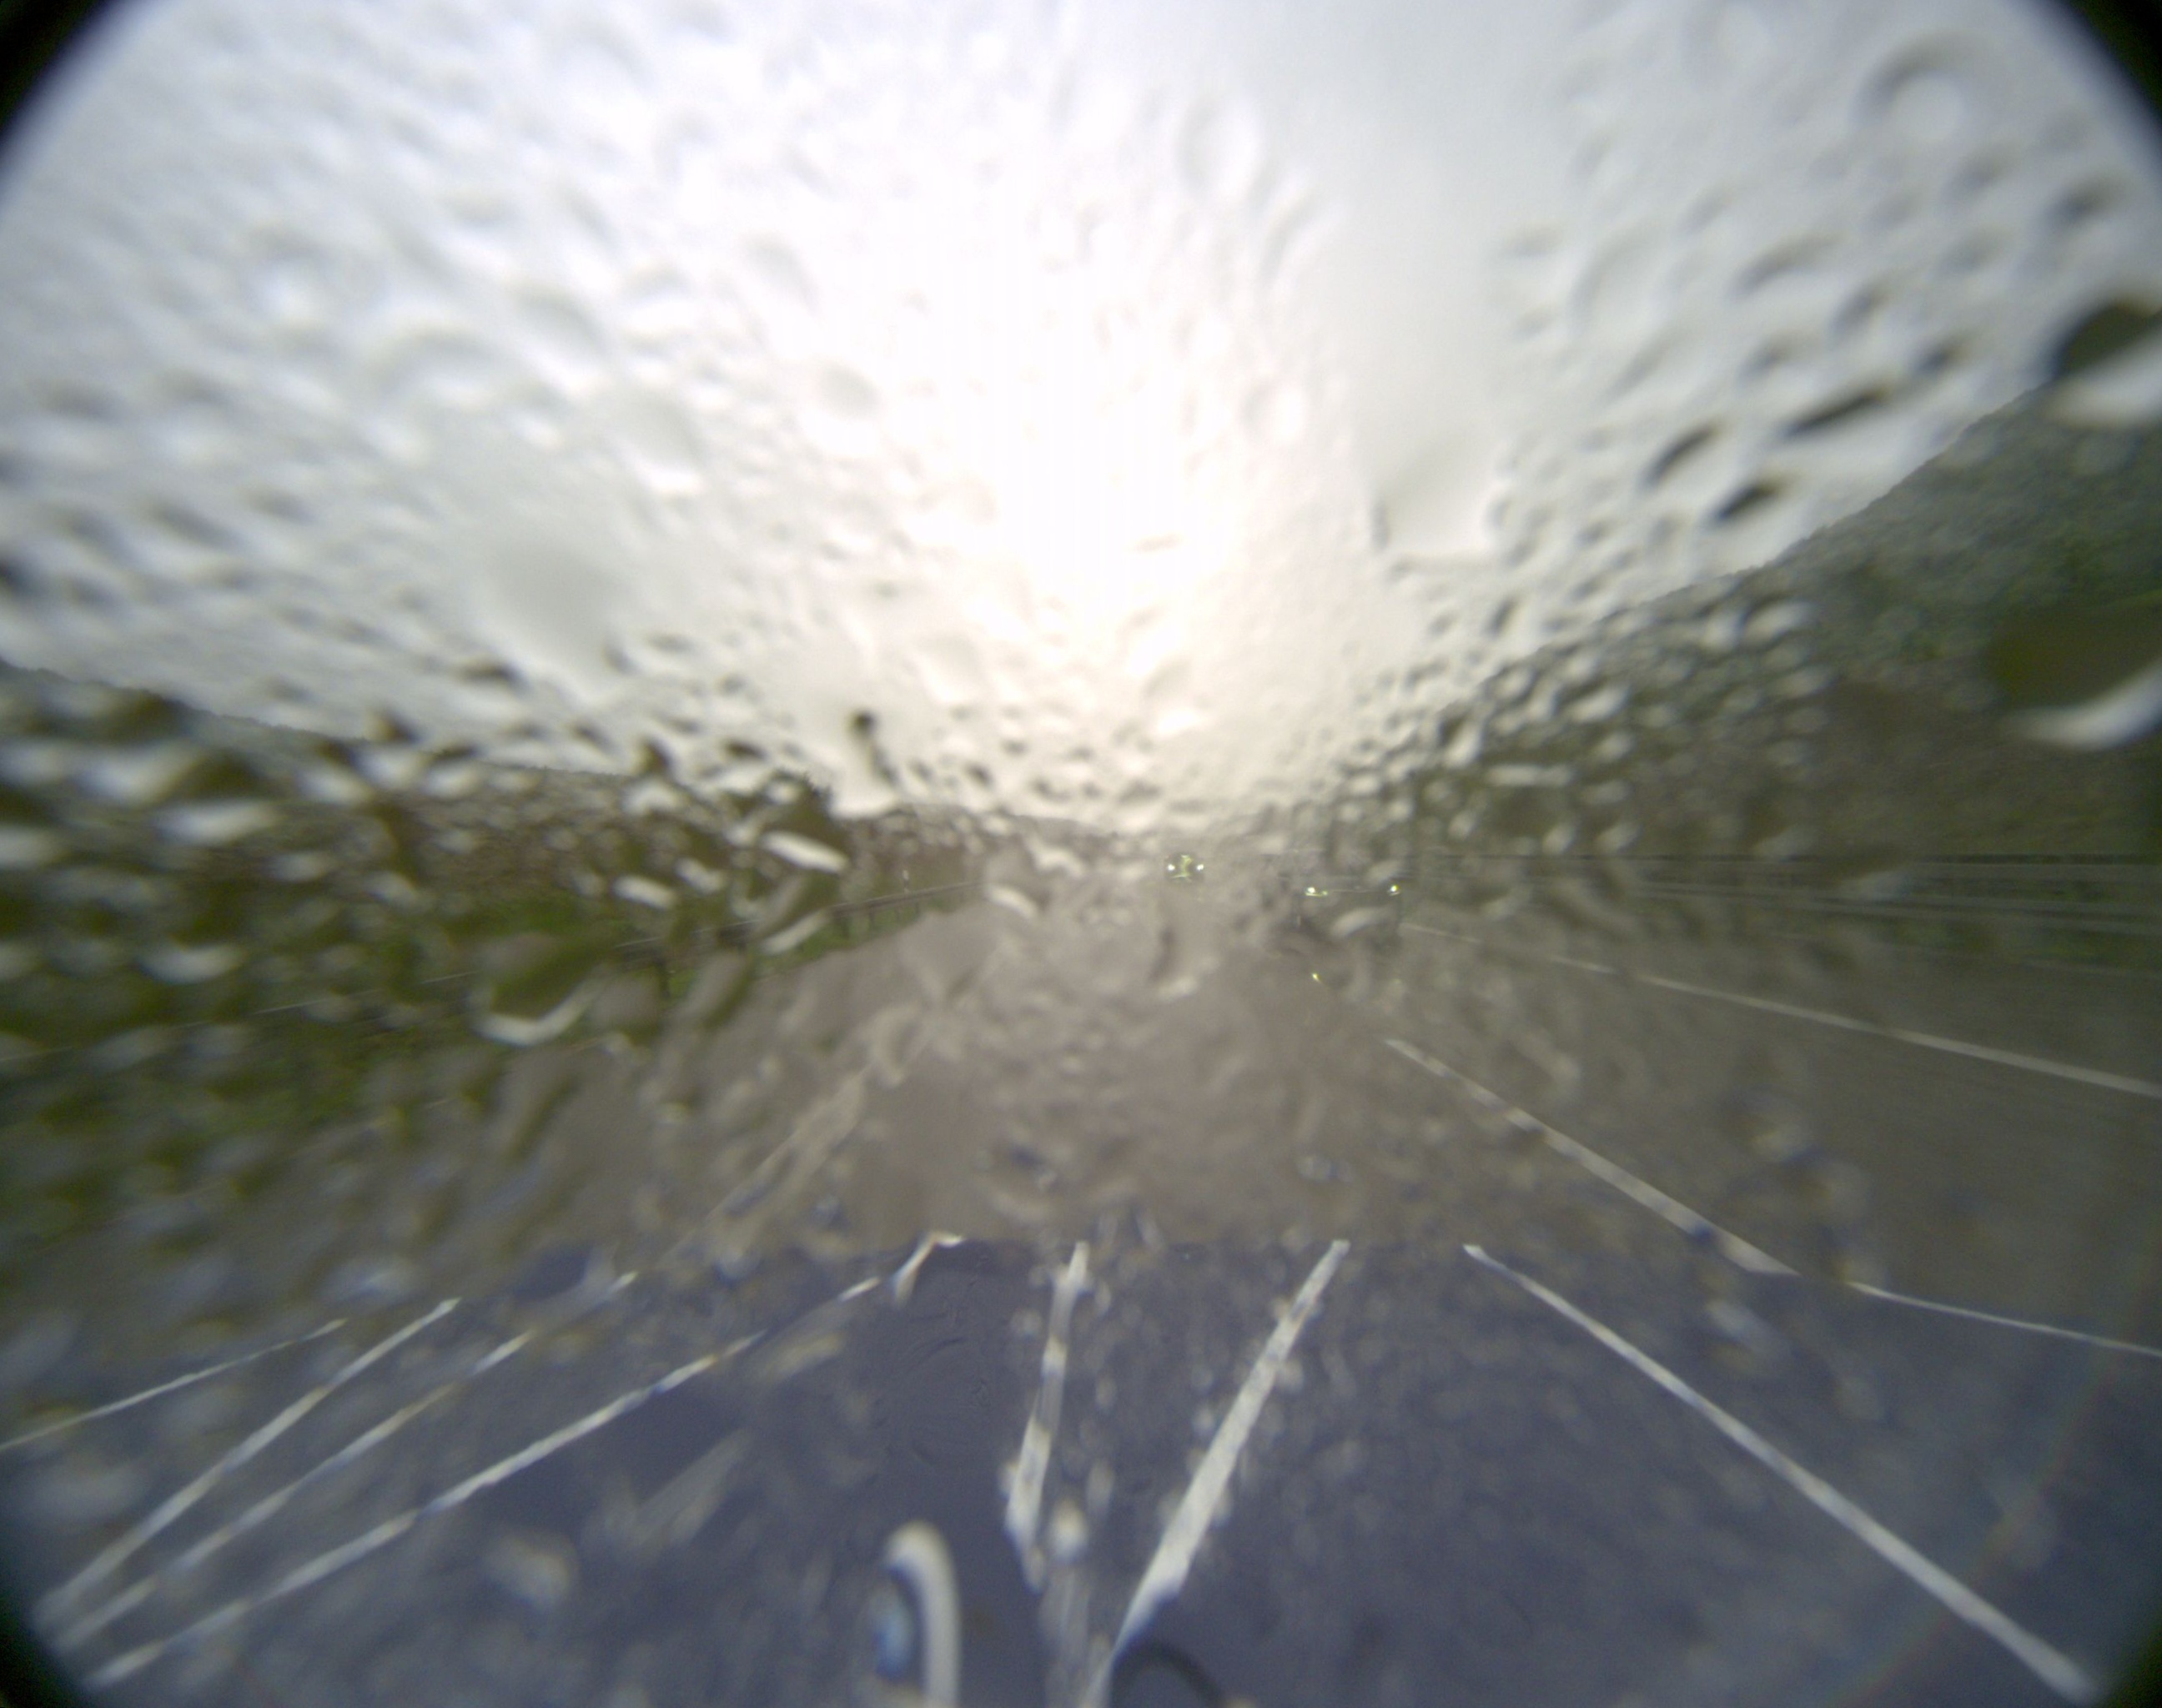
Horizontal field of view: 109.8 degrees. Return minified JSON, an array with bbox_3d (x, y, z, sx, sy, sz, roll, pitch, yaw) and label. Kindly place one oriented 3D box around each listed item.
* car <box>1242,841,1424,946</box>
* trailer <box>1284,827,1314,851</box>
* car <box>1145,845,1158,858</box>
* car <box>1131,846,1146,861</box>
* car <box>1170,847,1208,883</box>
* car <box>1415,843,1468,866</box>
[{"bbox_3d":[4.831,0.651,15.453,1.998,1.673,4.908,-4,1,0],"label":"car"},{"bbox_3d":[35.018,-2.371,122.523,2.818,3.660,13.253,-2,0,8],"label":"trailer"},{"bbox_3d":[11.964,-0.368,128.934,1.998,2.001,4.001,-2,-1,3],"label":"car"},{"bbox_3d":[8.059,-0.068,106.851,1.835,2.002,3.939,-4,1,3],"label":"car"},{"bbox_3d":[5.711,0.536,40.260,1.813,1.692,3.750,-3,1,8],"label":"car"},{"bbox_3d":[23.314,0.030,49.258,1.798,1.412,3.776,-2,0,3],"label":"car"}]
